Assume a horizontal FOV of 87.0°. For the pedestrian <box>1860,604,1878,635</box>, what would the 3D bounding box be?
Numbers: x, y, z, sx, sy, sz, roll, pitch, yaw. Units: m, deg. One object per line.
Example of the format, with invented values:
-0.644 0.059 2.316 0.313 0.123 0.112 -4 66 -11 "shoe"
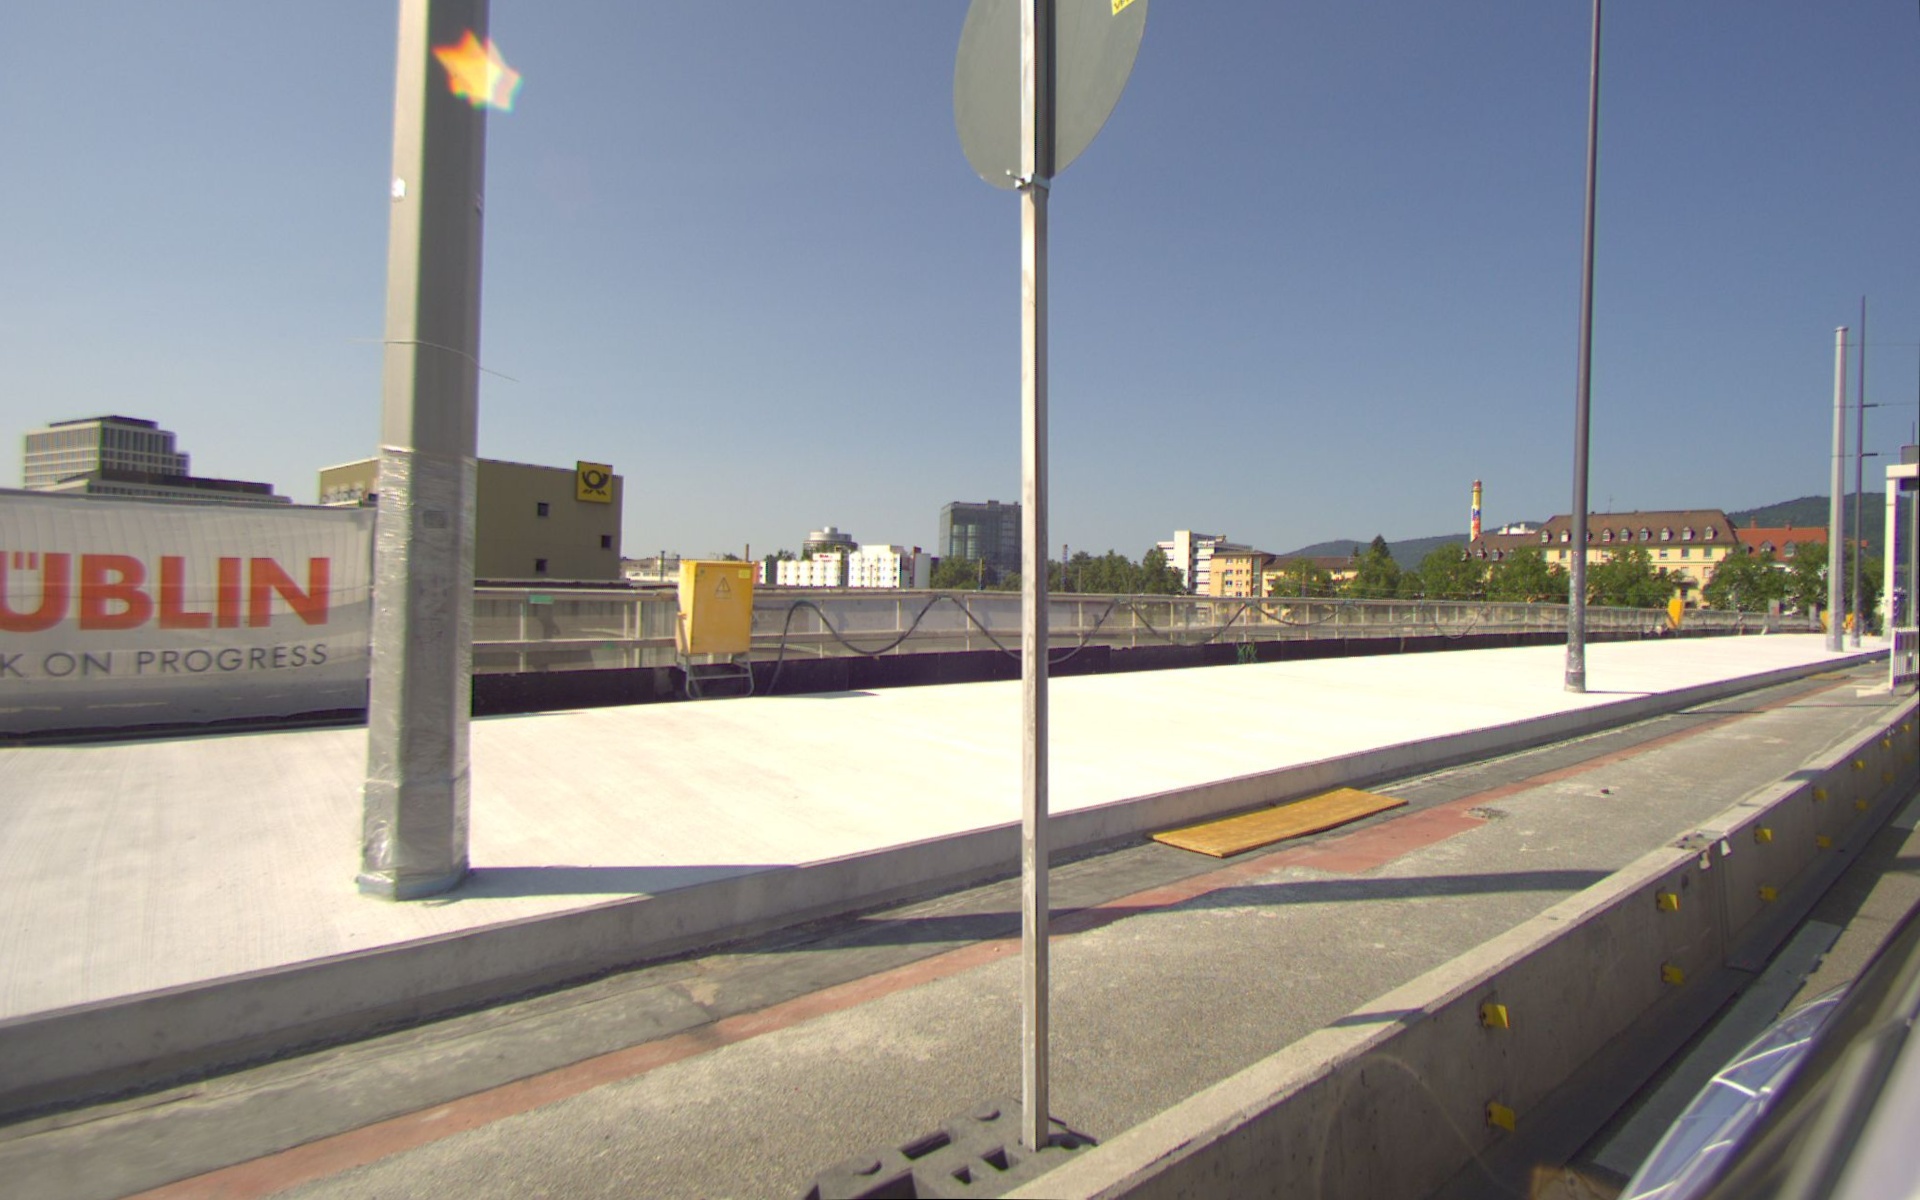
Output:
60.123 1.298 66.943 0.999 1.989 0.732 3 0 -45 "pedestrian"
